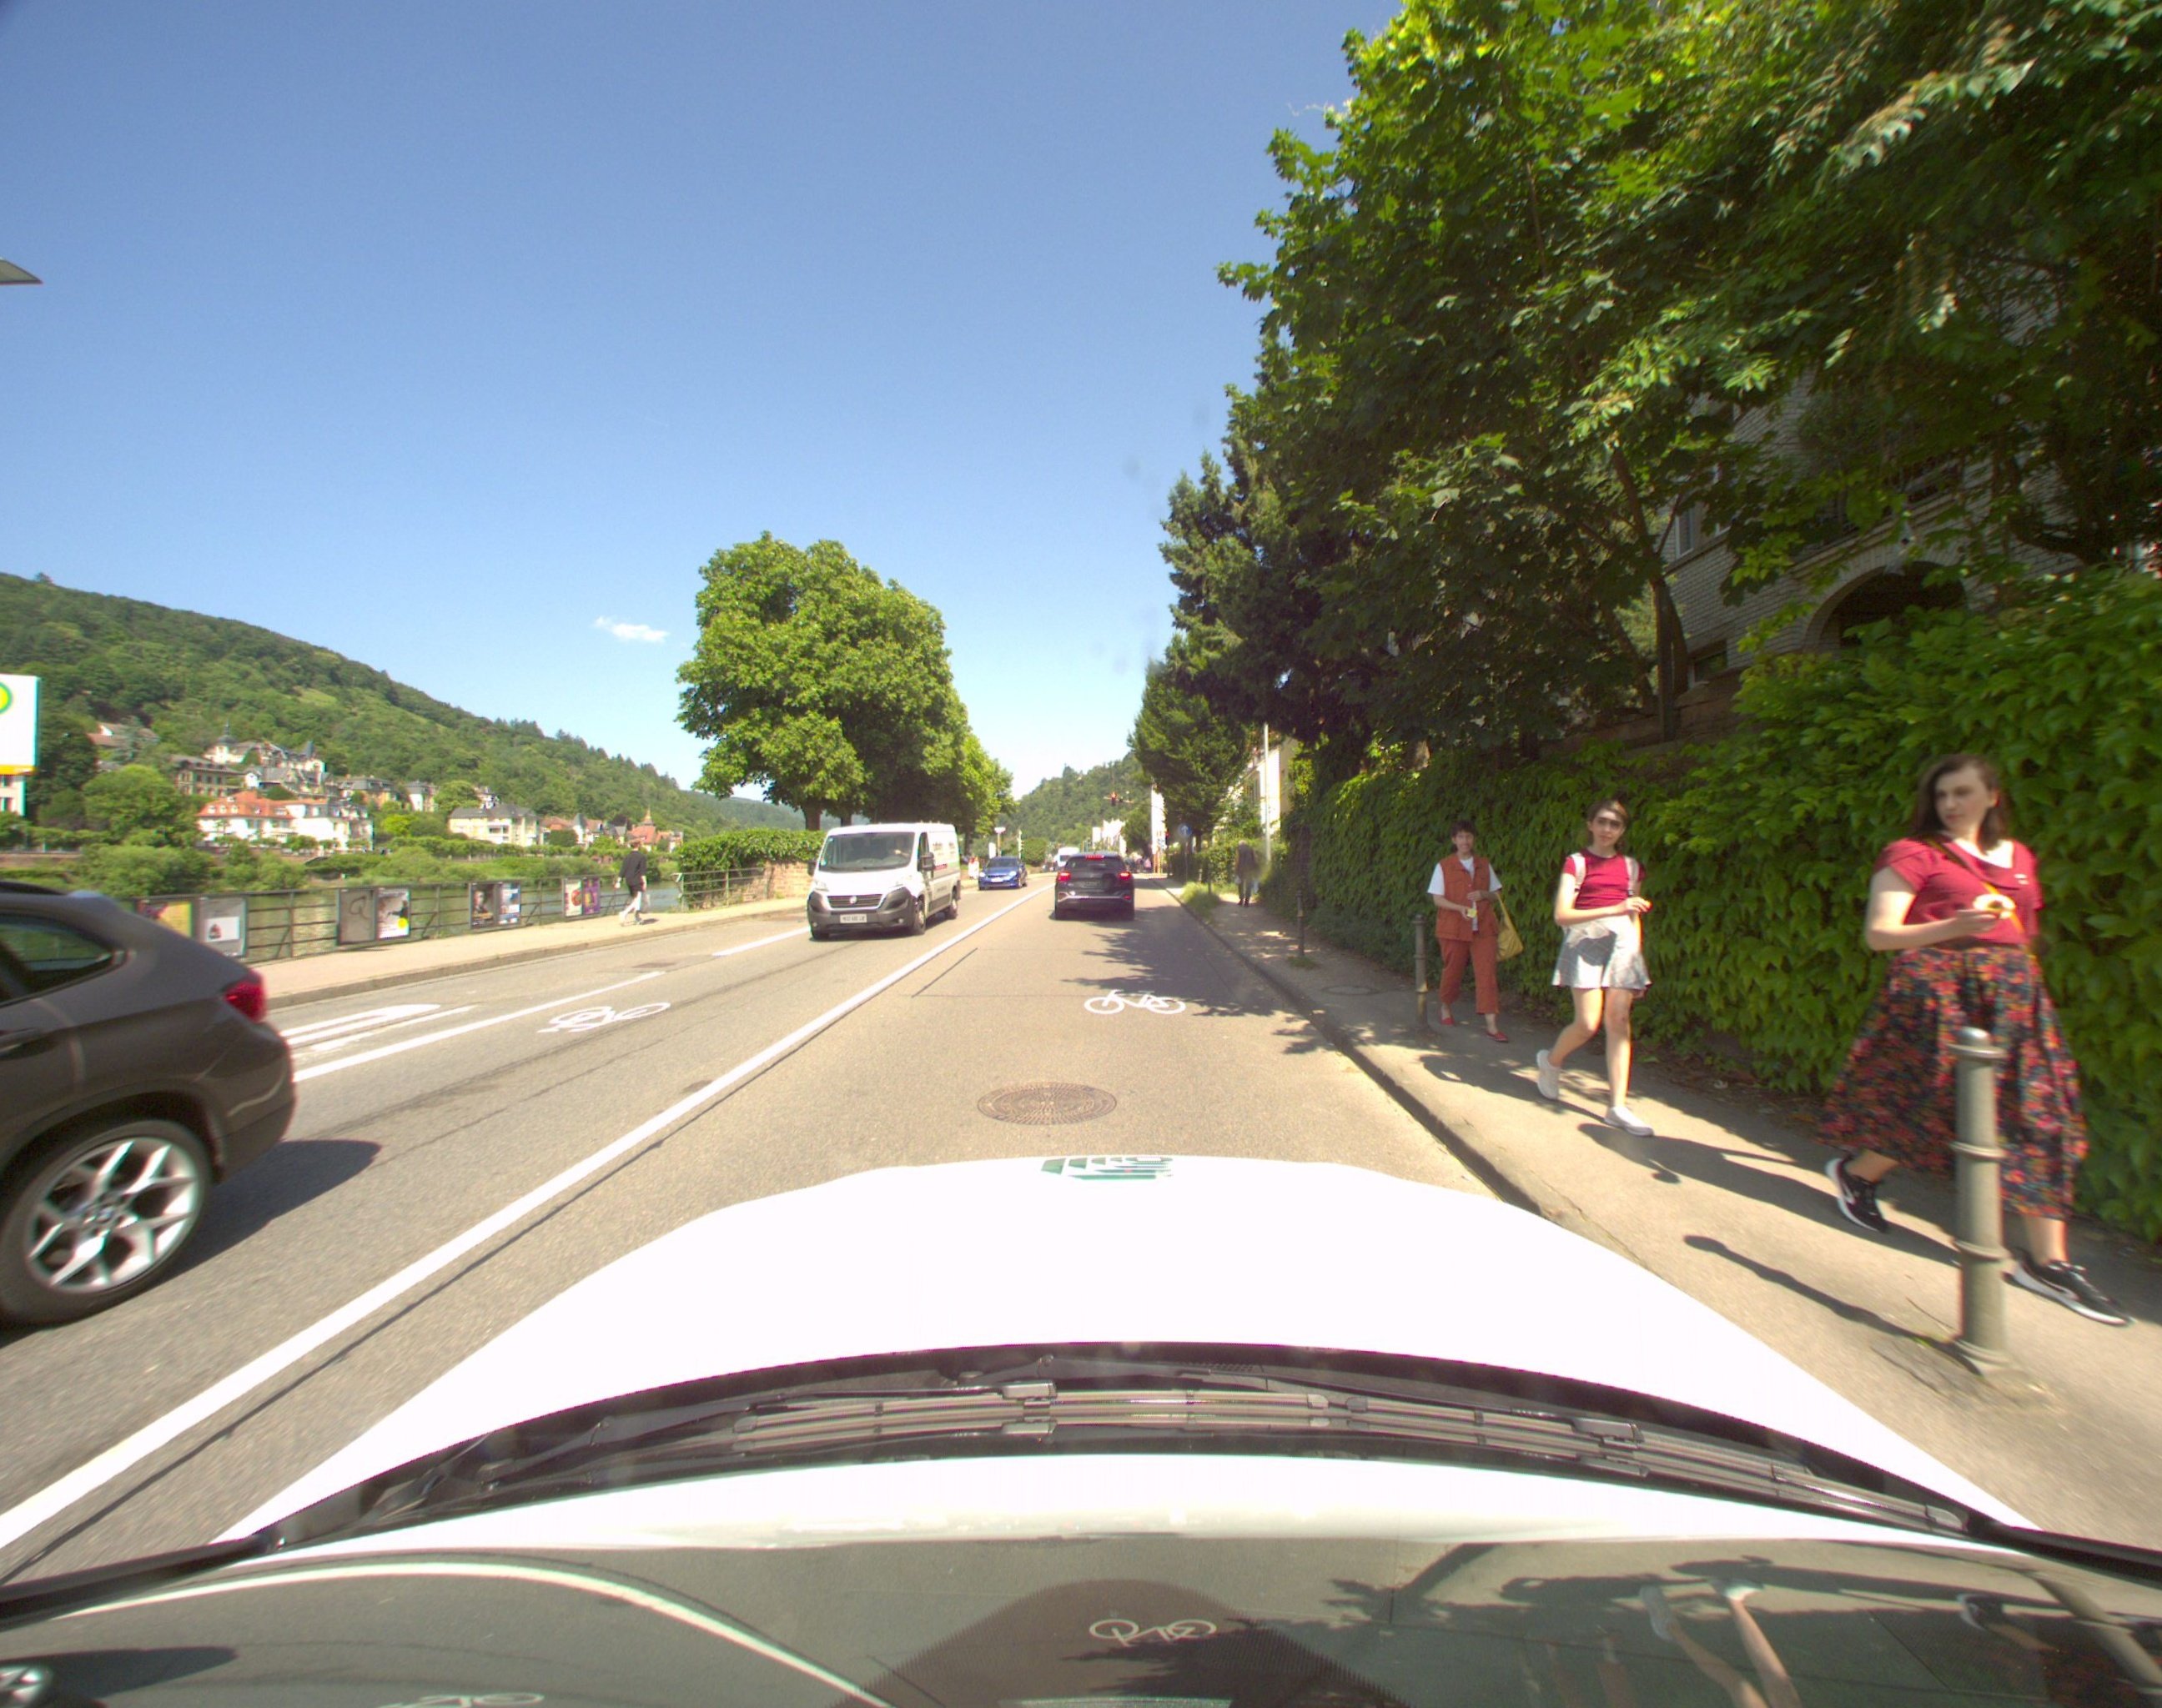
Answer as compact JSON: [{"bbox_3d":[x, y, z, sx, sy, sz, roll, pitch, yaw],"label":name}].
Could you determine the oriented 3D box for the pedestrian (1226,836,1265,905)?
[{"bbox_3d":[4.150,0.409,20.596,0.725,1.650,0.882,-4,0,2],"label":"pedestrian"}]

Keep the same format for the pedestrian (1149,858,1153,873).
[{"bbox_3d":[7.303,1.235,84.753,0.412,1.559,0.395,-2,-2,2],"label":"pedestrian"}]

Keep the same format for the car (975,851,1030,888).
[{"bbox_3d":[-3.426,0.699,36.205,1.892,1.489,3.797,-2,-1,2],"label":"car"}]

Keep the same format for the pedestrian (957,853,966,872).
[{"bbox_3d":[-9.599,0.692,65.205,0.555,1.559,0.541,-2,-2,5],"label":"pedestrian"}]

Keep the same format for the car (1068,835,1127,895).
[{"bbox_3d":[0.658,0.392,30.440,1.986,2.014,4.002,-2,0,2],"label":"car"}]

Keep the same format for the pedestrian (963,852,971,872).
[{"bbox_3d":[-9.224,0.648,65.922,0.555,1.669,0.541,-2,-2,5],"label":"pedestrian"}]

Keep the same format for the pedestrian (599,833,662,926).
[{"bbox_3d":[-9.701,0.545,17.571,0.750,1.918,1.009,-2,-2,1],"label":"pedestrian"}]

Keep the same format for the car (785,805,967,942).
[{"bbox_3d":[-3.943,0.295,16.957,2.089,2.302,5.870,-2,1,1],"label":"car"}]

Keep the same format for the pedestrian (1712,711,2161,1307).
[{"bbox_3d":[2.908,0.455,2.852,0.678,1.742,0.914,-2,0,3],"label":"pedestrian"}]

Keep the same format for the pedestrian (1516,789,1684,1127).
[{"bbox_3d":[2.635,0.496,4.181,0.454,1.606,0.580,-2,0,1],"label":"pedestrian"}]

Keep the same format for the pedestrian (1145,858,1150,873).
[{"bbox_3d":[6.855,1.215,83.696,0.487,1.559,0.462,-2,-2,2],"label":"pedestrian"}]

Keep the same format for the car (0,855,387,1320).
[{"bbox_3d":[-4.245,0.768,1.660,1.809,1.398,4.348,-2,1,1],"label":"car"}]

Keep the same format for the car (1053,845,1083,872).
[{"bbox_3d":[-1.222,0.458,79.247,2.485,2.466,5.622,-2,-2,2],"label":"car"}]

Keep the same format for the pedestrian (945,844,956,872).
[{"bbox_3d":[-9.645,0.310,60.065,0.638,2.014,0.731,-2,-2,2],"label":"pedestrian"}]

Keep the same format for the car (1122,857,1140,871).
[{"bbox_3d":[5.824,1.204,95.614,1.986,1.453,4.010,-2,-2,2],"label":"car"}]

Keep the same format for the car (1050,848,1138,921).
[{"bbox_3d":[0.365,0.636,19.404,1.850,1.524,4.002,1,0,2],"label":"car"}]

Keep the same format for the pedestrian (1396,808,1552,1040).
[{"bbox_3d":[2.975,0.492,6.257,0.732,1.634,0.921,-2,0,1],"label":"pedestrian"}]
